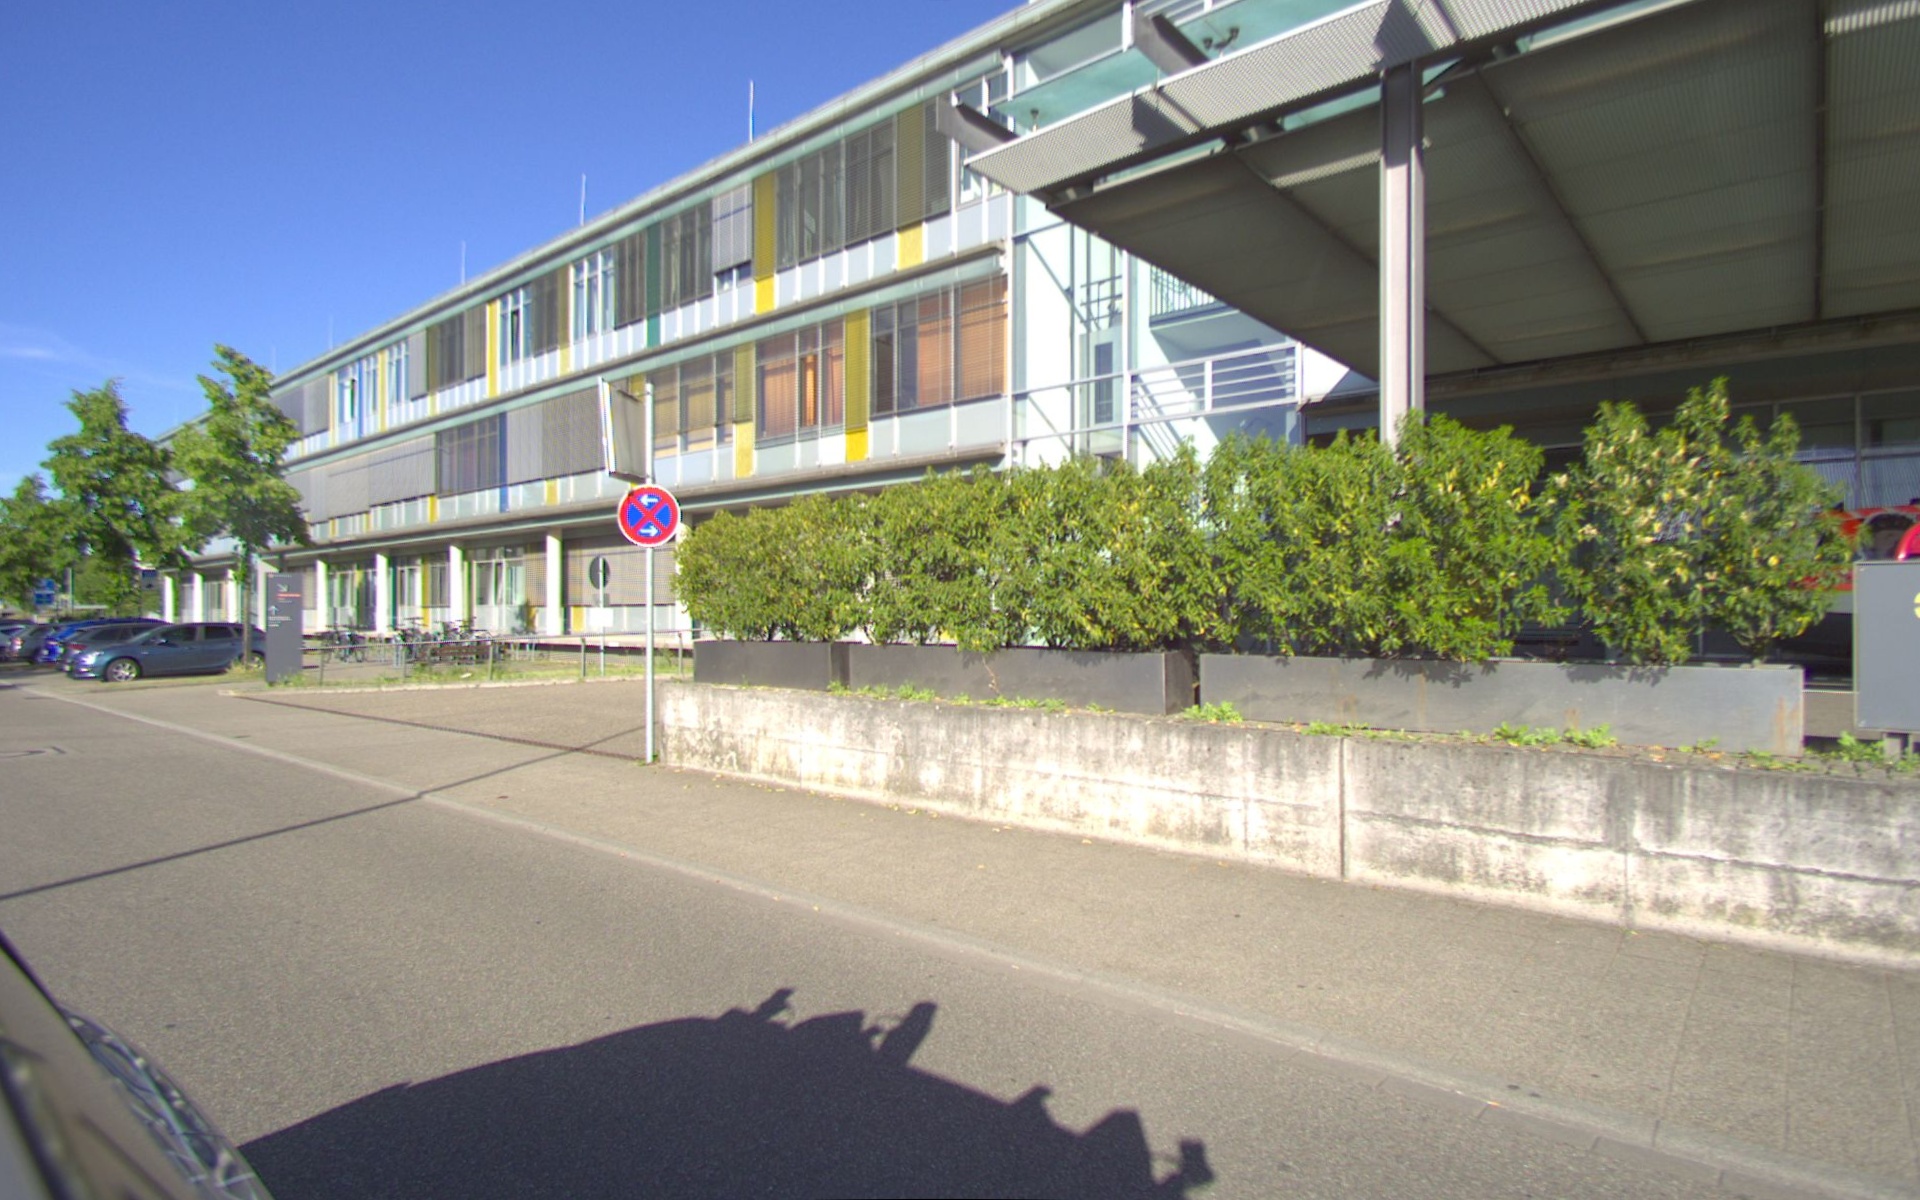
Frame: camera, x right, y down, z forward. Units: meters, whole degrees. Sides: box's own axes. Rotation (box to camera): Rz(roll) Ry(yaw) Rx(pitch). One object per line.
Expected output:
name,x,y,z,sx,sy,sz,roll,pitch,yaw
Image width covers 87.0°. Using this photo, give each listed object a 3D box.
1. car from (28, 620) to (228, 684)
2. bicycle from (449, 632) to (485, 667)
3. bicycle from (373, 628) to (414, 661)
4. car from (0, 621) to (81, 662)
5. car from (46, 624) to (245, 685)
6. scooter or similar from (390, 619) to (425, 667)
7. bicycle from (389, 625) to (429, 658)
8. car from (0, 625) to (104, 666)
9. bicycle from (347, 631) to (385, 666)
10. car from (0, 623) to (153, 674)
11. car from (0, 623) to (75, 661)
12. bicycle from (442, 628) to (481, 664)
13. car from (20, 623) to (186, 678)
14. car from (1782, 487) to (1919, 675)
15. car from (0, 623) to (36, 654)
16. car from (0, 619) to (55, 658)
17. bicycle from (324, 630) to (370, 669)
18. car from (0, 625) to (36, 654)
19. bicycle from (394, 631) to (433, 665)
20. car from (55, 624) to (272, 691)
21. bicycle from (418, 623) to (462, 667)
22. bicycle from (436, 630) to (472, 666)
car,-24.022,1.434,29.344,1.958,1.664,4.180,-1,-1,38
bicycle,-14.943,1.498,30.677,1.394,1.030,0.349,-1,-2,36
bicycle,-19.834,1.544,35.420,1.854,1.104,0.640,-1,-2,40
car,-41.498,1.817,44.256,1.996,1.639,4.309,-1,1,36
car,-22.091,1.432,27.572,1.729,1.448,3.949,-1,-1,38
scooter or similar,-15.308,1.177,28.031,1.205,1.283,0.465,-2,-2,42
bicycle,-20.505,1.526,37.649,1.854,1.208,0.640,-1,-2,40
car,-37.007,1.815,40.390,1.822,1.433,4.051,-1,1,39
bicycle,-18.161,1.474,30.939,1.778,1.023,0.422,-1,-2,40
car,-31.452,1.676,36.026,1.822,1.499,3.942,-1,1,39
car,-43.618,1.938,46.332,1.996,1.602,4.309,-2,0,36
bicycle,-16.453,1.502,33.406,1.854,1.144,0.442,-1,-2,40
car,-27.608,1.582,32.707,1.773,1.499,3.712,-1,1,32
car,11.347,-0.207,10.188,4.708,1.905,1.900,-2,-2,41
car,-54.748,2.224,56.716,4.298,1.659,2.001,-2,1,-45
car,-48.604,1.967,50.970,1.999,1.877,4.303,-2,0,41
bicycle,-18.500,1.470,30.516,1.778,1.151,0.629,-1,-2,40
car,-52.756,2.189,54.538,4.298,1.471,2.001,-2,1,-45
bicycle,-16.873,1.473,31.232,1.778,1.023,0.442,-1,-2,40
car,-20.276,1.396,25.903,1.752,1.478,4.090,-1,-1,39
bicycle,-14.913,1.294,29.011,1.648,1.056,0.349,-12,-8,35
bicycle,-15.178,1.430,30.343,1.394,1.030,0.349,-1,-2,36
